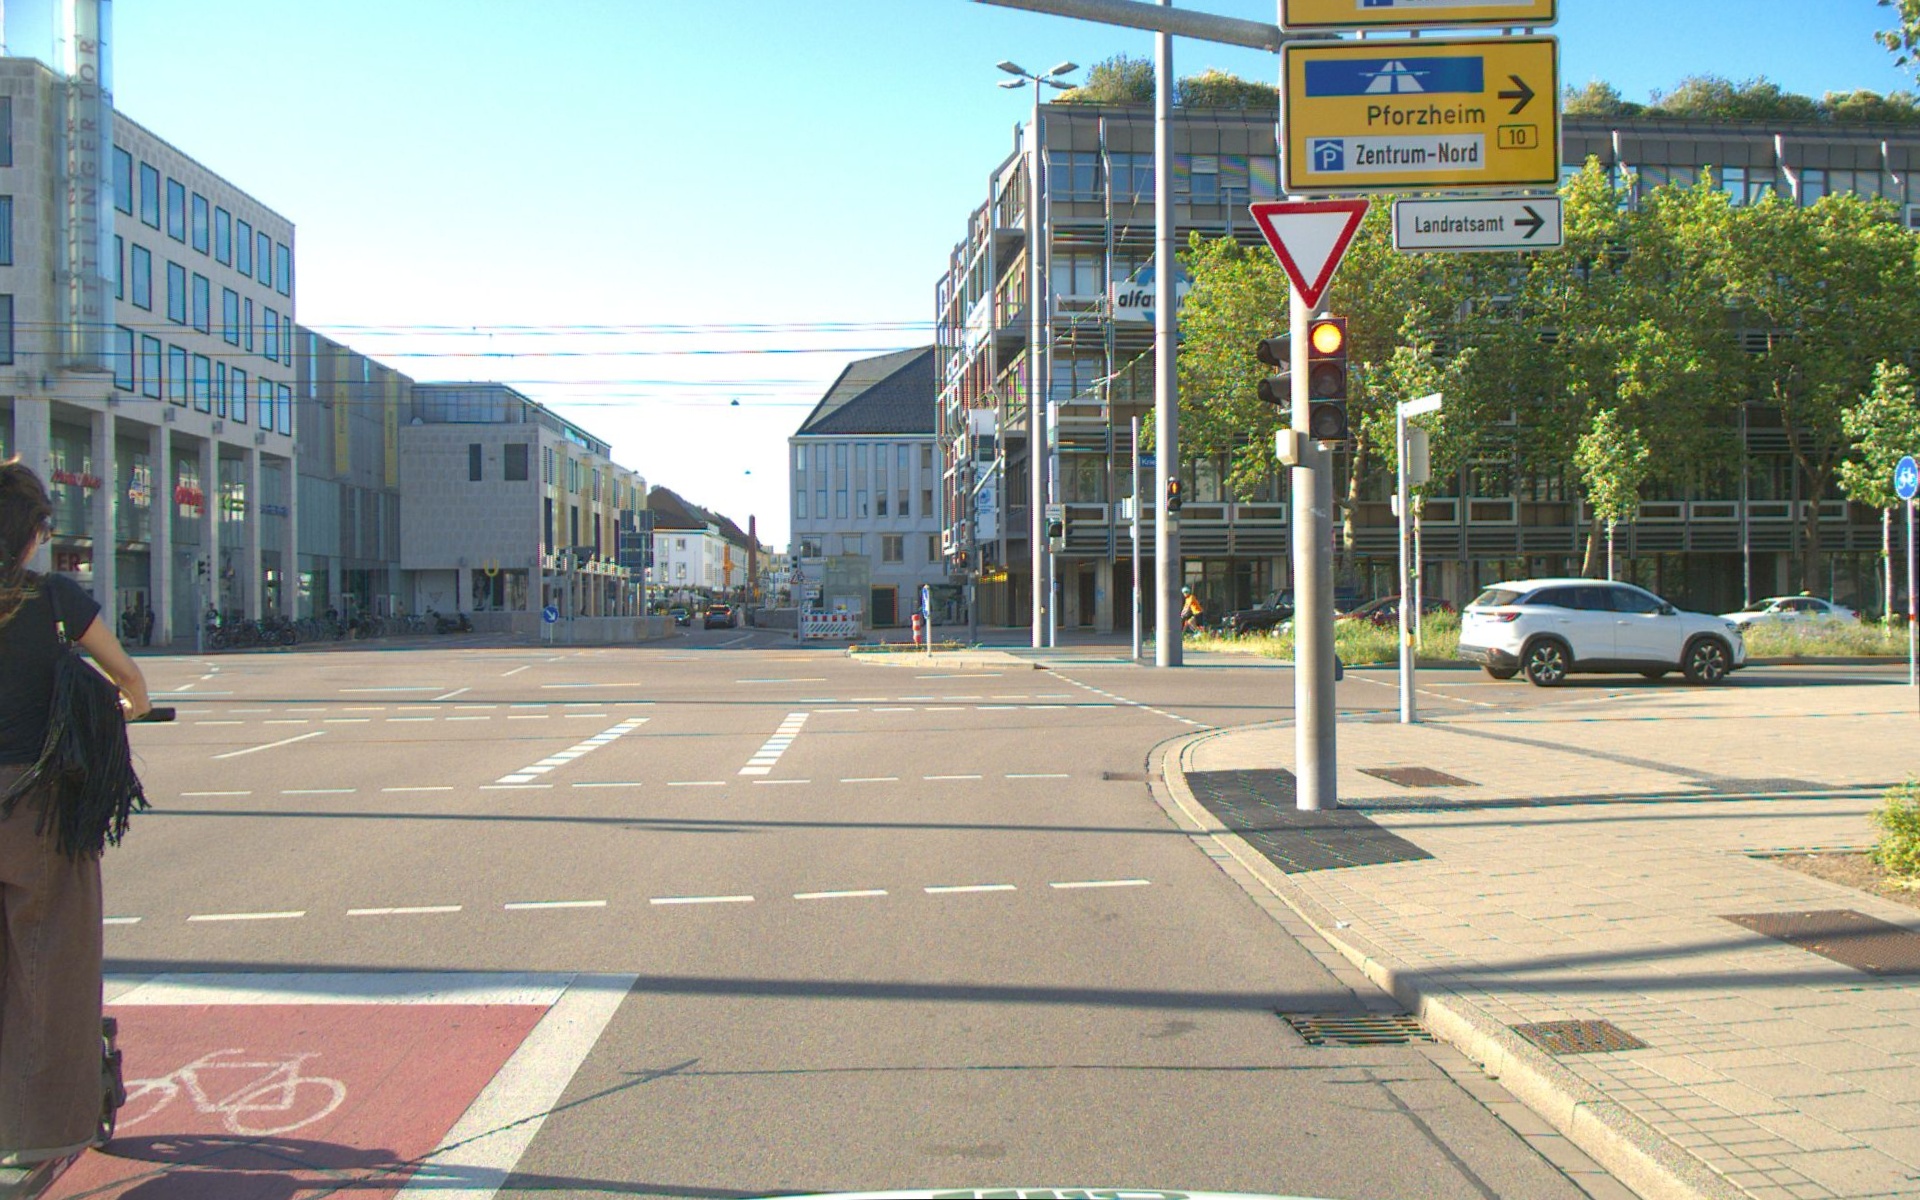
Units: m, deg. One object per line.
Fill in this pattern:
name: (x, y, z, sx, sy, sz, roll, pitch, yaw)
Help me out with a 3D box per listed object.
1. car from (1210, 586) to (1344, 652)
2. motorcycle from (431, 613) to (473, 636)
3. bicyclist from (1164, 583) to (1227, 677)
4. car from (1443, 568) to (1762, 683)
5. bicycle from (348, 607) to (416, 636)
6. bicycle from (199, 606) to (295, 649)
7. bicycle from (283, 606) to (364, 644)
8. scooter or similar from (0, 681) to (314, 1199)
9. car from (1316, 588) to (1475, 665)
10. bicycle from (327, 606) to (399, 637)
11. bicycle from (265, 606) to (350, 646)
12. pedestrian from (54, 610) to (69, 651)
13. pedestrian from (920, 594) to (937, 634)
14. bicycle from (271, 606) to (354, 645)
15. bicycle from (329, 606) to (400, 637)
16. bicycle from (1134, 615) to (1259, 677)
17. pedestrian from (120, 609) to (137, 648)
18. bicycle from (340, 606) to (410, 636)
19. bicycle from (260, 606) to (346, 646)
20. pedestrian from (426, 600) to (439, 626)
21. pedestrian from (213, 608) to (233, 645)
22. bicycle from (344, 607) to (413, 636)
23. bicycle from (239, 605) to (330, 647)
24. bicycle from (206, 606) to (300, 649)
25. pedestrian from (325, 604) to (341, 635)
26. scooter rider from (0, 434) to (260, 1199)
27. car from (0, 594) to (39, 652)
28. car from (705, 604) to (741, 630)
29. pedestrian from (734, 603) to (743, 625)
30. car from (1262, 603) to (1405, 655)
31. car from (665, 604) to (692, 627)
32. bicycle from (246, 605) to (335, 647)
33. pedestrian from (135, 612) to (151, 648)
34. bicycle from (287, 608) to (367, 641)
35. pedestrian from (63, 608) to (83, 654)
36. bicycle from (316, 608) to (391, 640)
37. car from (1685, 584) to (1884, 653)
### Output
car: (10.305, 0.603, 53.924, 3.908, 2.049, 1.999, 1, 0, -3)
motorcycle: (-29.954, 1.437, 97.598, 2.230, 1.341, 0.719, -1, 0, -6)
bicyclist: (6.719, 0.837, 47.228, 1.539, 2.625, 0.930, -1, 0, -10)
car: (10.160, 0.368, 26.359, 4.305, 1.689, 1.998, -1, 1, -5)
bicycle: (-31.947, 1.199, 91.429, 3.430, 1.554, 0.984, -1, 0, -12)
bicycle: (-29.322, 1.115, 68.037, 3.427, 1.726, 1.114, -1, 0, -10)
bicycle: (-30.337, 1.190, 78.871, 3.430, 1.726, 0.984, -1, 0, -12)
scooter or similar: (-2.208, 0.848, 3.929, 0.713, 1.223, 1.664, 0, 0, -1)
car: (12.232, 0.739, 46.583, 3.908, 2.049, 1.999, 1, 0, -3)
bicycle: (-31.072, 1.122, 86.132, 3.430, 1.554, 0.984, -1, 0, -12)
bicycle: (-29.797, 1.179, 75.586, 3.430, 1.726, 0.984, -1, 0, -12)
pedestrian: (-34.931, 1.181, 64.305, 0.379, 1.613, 0.367, -1, 0, -6)
pedestrian: (-1.326, 0.577, 69.596, 0.650, 1.687, 0.755, -1, 0, -4)
bicycle: (-30.038, 1.181, 76.786, 3.430, 1.726, 0.984, -1, 0, -12)
bicycle: (-31.389, 1.110, 87.249, 3.430, 1.554, 0.984, -1, 0, -12)
bicycle: (6.748, 1.306, 47.228, 3.427, 1.688, 0.929, -1, 0, -10)
pedestrian: (-34.979, 1.196, 69.569, 0.472, 1.613, 0.513, -1, 0, -5)
bicycle: (-31.480, 1.139, 89.023, 3.430, 1.554, 0.984, -1, 0, -12)
bicycle: (-29.573, 1.170, 74.498, 3.430, 1.726, 0.984, -1, 0, -12)
pedestrian: (-34.154, 0.849, 107.008, 0.684, 1.671, 0.693, -1, 0, -9)
pedestrian: (-33.383, 1.191, 74.911, 0.776, 1.671, 0.688, -1, 0, -30)
bicycle: (-31.784, 1.169, 90.405, 3.430, 1.554, 0.984, -1, 0, -12)
bicycle: (-28.868, 1.089, 70.717, 3.427, 1.726, 1.114, -1, 0, -10)
bicycle: (-29.554, 1.131, 69.234, 3.427, 1.726, 1.114, -1, 0, -10)
pedestrian: (-33.631, 1.046, 88.666, 0.641, 1.671, 0.693, -1, 0, -9)
scooter rider: (-2.211, 0.541, 3.976, 0.713, 1.806, 0.811, 0, 0, -1)
car: (-29.155, 0.753, 48.087, 4.379, 1.635, 1.998, -3, 0, 27)
car: (-15.497, 1.099, 108.168, 2.157, 1.635, 4.320, -1, 0, -6)
pedestrian: (-14.495, 0.939, 108.282, 0.598, 1.436, 0.569, -1, 0, -7)
car: (11.440, 0.869, 50.821, 3.908, 1.534, 1.867, 1, 0, -4)
car: (-22.950, 1.276, 134.841, 1.722, 1.814, 3.997, -1, 0, -4)
bicycle: (-29.098, 1.125, 71.929, 3.427, 1.726, 1.114, -1, 0, -10)
pedestrian: (-34.681, 1.266, 70.210, 0.472, 1.537, 0.513, -1, 0, -5)
bicycle: (-30.542, 1.173, 79.861, 3.430, 1.554, 0.984, -1, 0, -12)
pedestrian: (-32.500, 1.117, 60.577, 0.532, 1.671, 0.548, -1, 0, -18)
bicycle: (-30.884, 1.214, 84.271, 3.430, 1.554, 0.984, -1, 0, -12)
car: (26.173, 0.585, 52.581, 5.332, 2.049, 2.096, 1, 0, -3)
